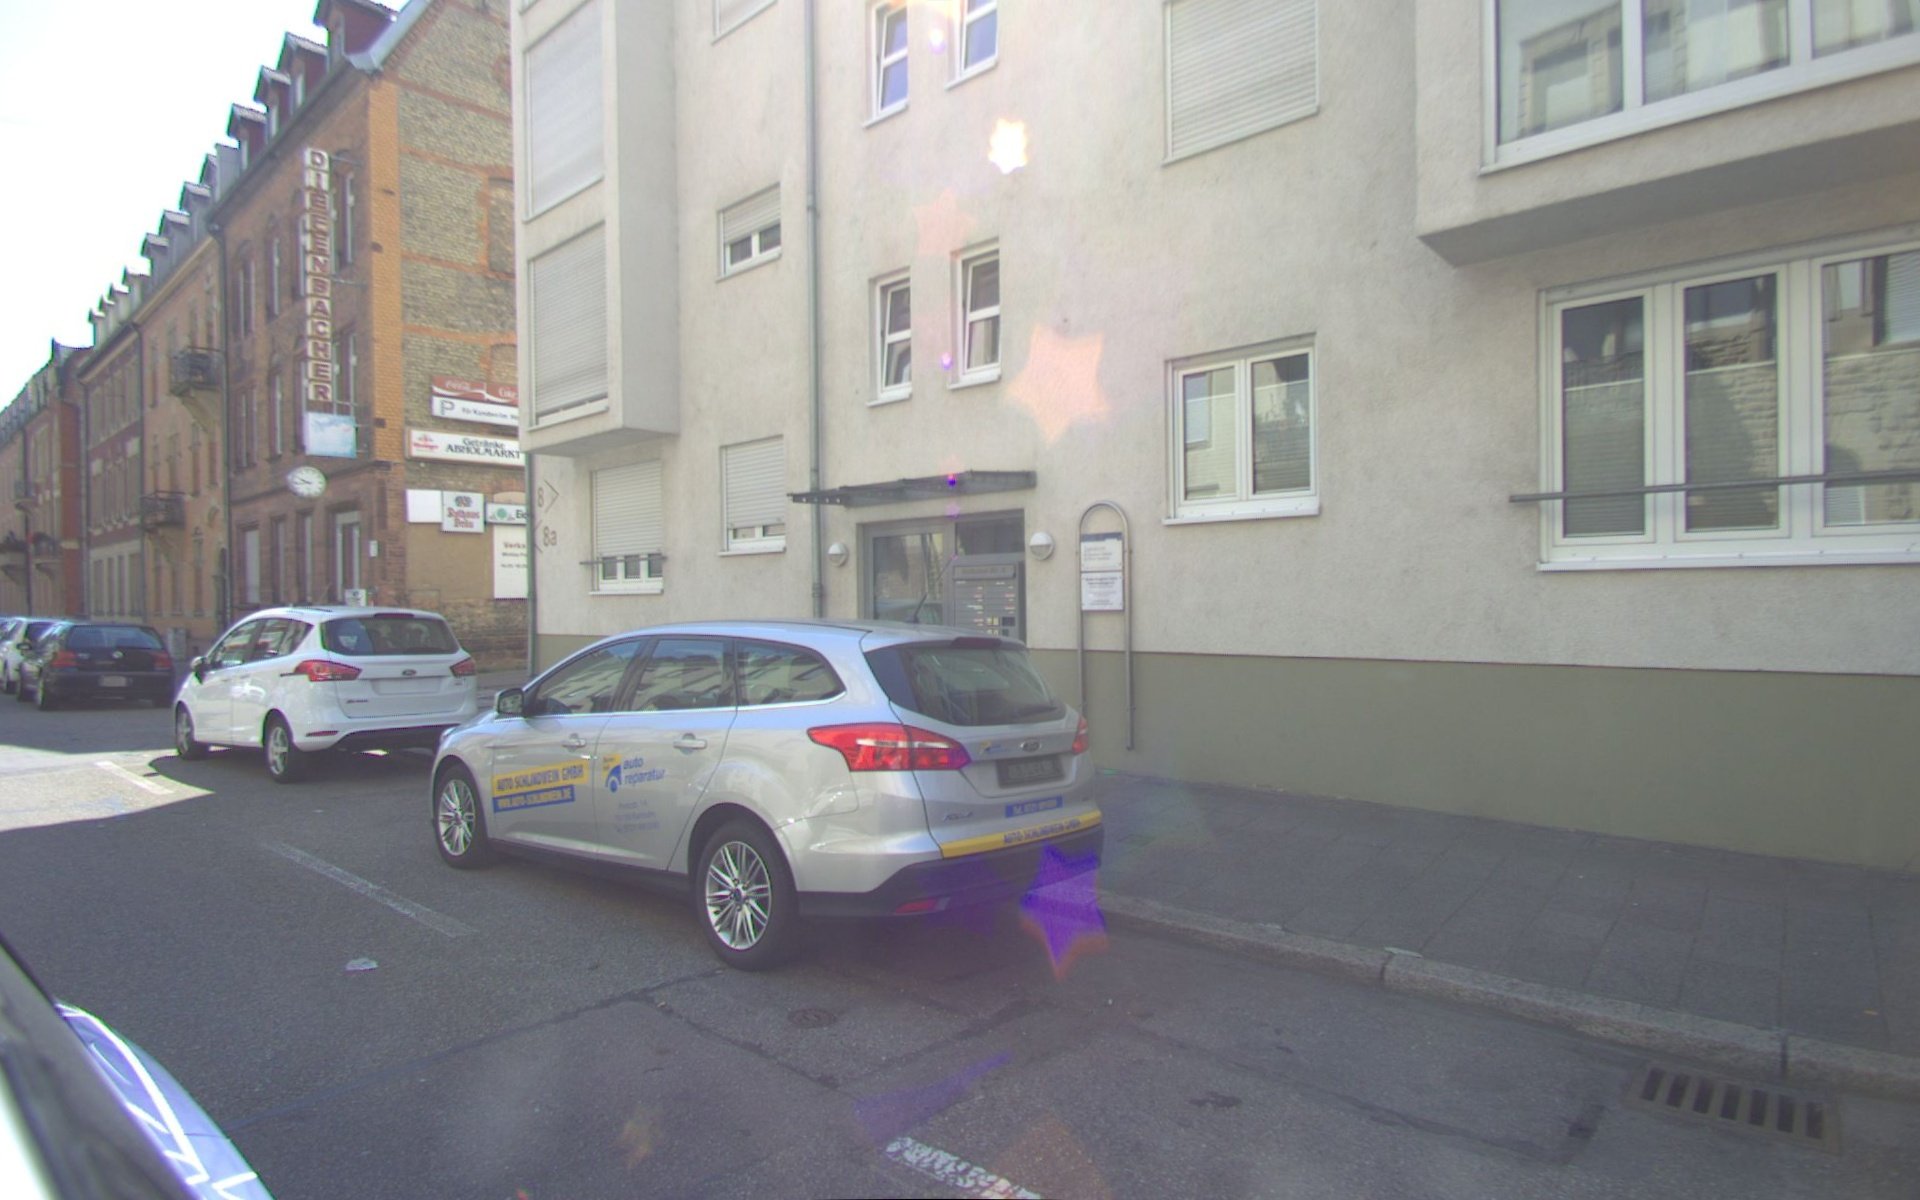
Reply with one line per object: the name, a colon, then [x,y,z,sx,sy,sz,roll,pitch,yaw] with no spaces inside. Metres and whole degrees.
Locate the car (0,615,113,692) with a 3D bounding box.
car: [-18.683,1.061,20.617,3.677,1.440,1.611,-1,-4,42]

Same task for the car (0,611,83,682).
car: [-22.221,1.079,23.972,3.521,1.555,1.432,0,-4,38]

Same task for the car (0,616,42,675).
car: [-25.604,1.152,26.696,3.521,1.484,1.432,0,-4,39]

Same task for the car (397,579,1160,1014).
car: [-1.259,0.728,5.584,4.344,1.506,1.713,0,-3,39]

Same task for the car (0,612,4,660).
car: [-30.331,1.142,30.700,3.522,1.655,1.432,0,-4,40]

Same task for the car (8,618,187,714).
car: [-14.820,1.078,17.329,3.835,1.440,1.758,-1,-4,42]

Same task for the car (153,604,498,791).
car: [-6.504,0.868,10.245,3.847,1.561,1.613,0,-4,37]
